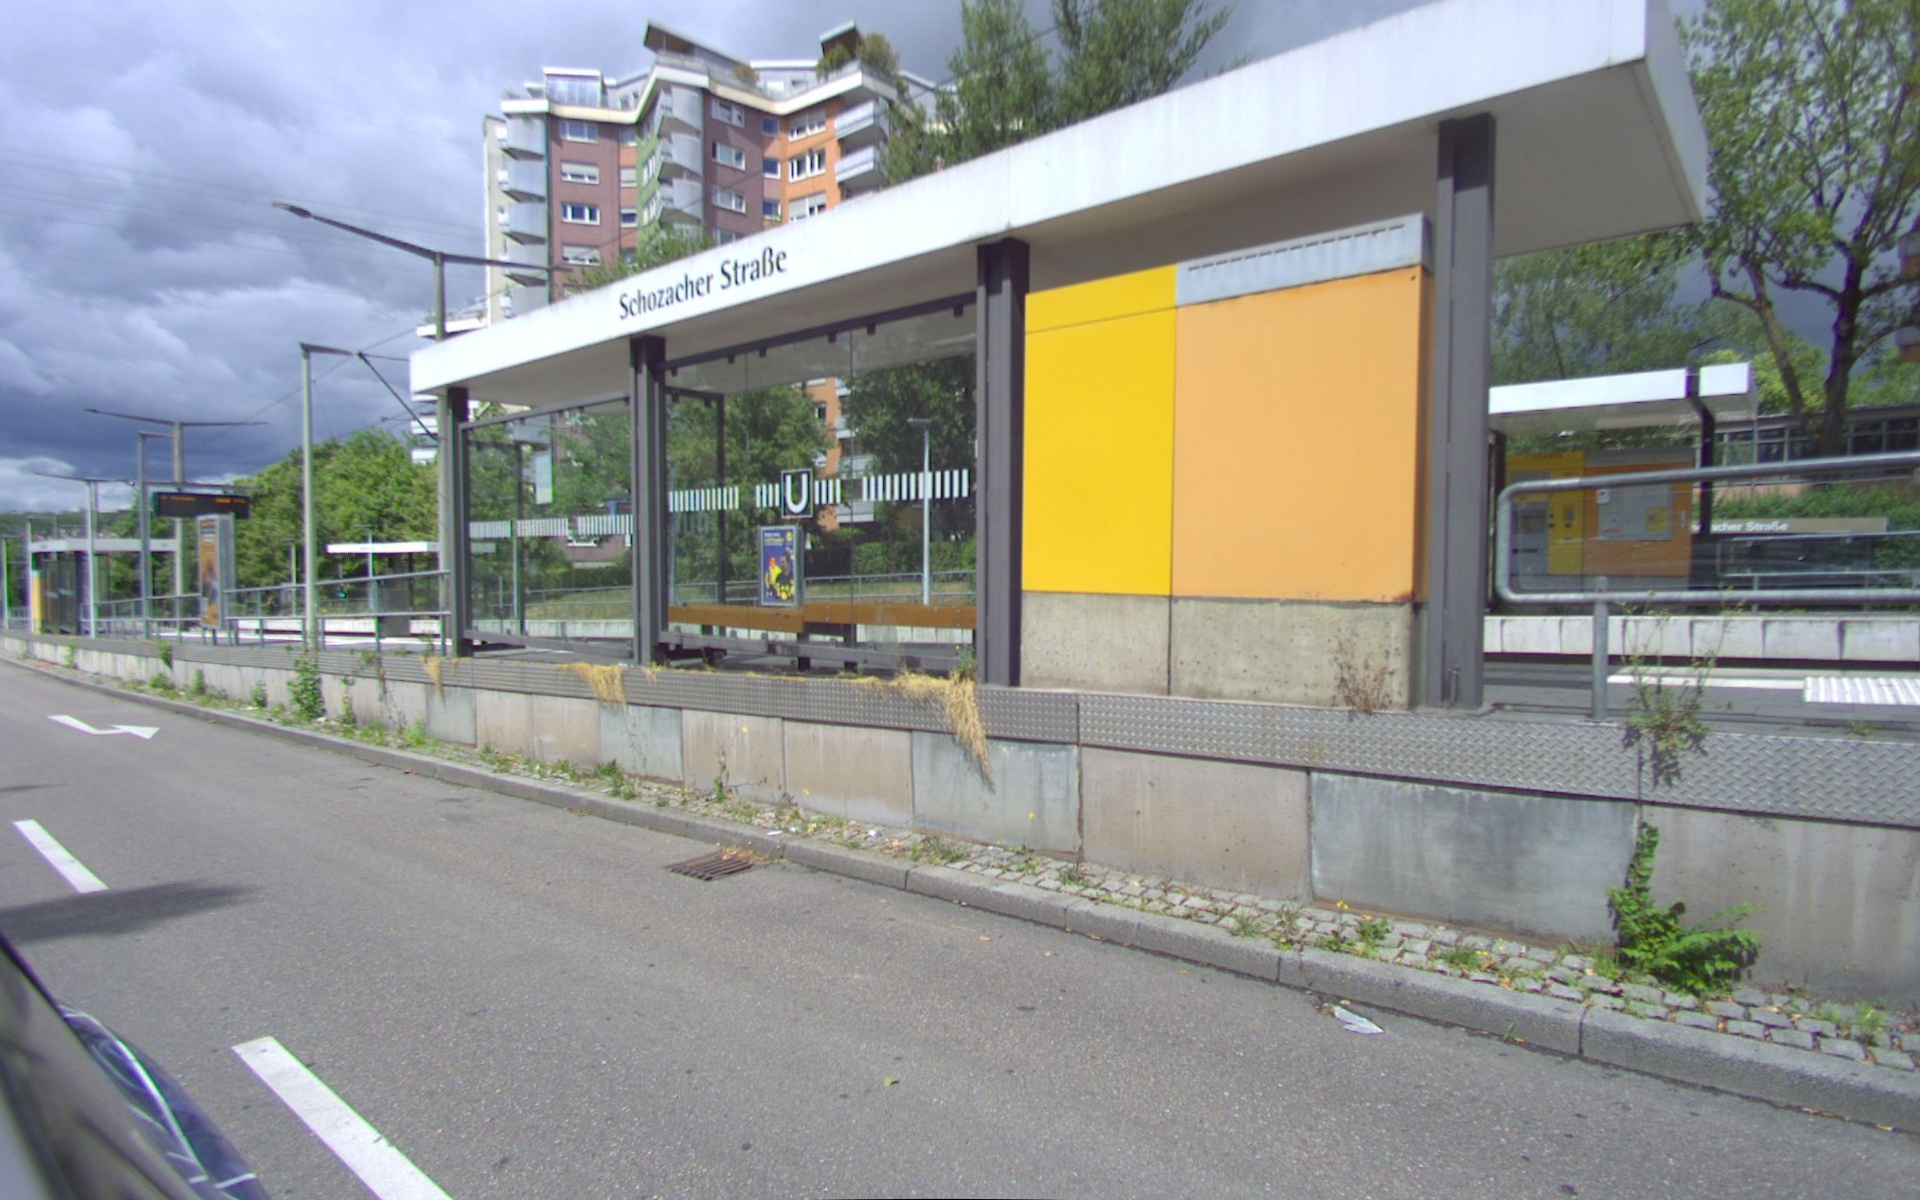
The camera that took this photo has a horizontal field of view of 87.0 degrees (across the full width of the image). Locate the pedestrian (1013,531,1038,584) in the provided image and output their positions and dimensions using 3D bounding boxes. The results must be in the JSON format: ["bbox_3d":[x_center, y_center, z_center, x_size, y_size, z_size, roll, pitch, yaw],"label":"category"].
[{"bbox_3d":[2.197,-1.415,33.917,0.504,1.725,0.643,-1,-1,41],"label":"pedestrian"}]

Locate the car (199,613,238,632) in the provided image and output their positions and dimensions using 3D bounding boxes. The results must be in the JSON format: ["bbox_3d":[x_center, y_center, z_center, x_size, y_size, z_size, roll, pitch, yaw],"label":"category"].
[{"bbox_3d":[-57.372,1.727,78.261,3.999,1.429,1.637,-1,0,42],"label":"car"}]

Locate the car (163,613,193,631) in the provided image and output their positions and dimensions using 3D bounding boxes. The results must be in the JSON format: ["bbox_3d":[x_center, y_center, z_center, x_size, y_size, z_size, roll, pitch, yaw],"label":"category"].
[{"bbox_3d":[-69.408,1.942,89.789,1.635,1.524,3.740,-1,0,-45],"label":"car"}]
